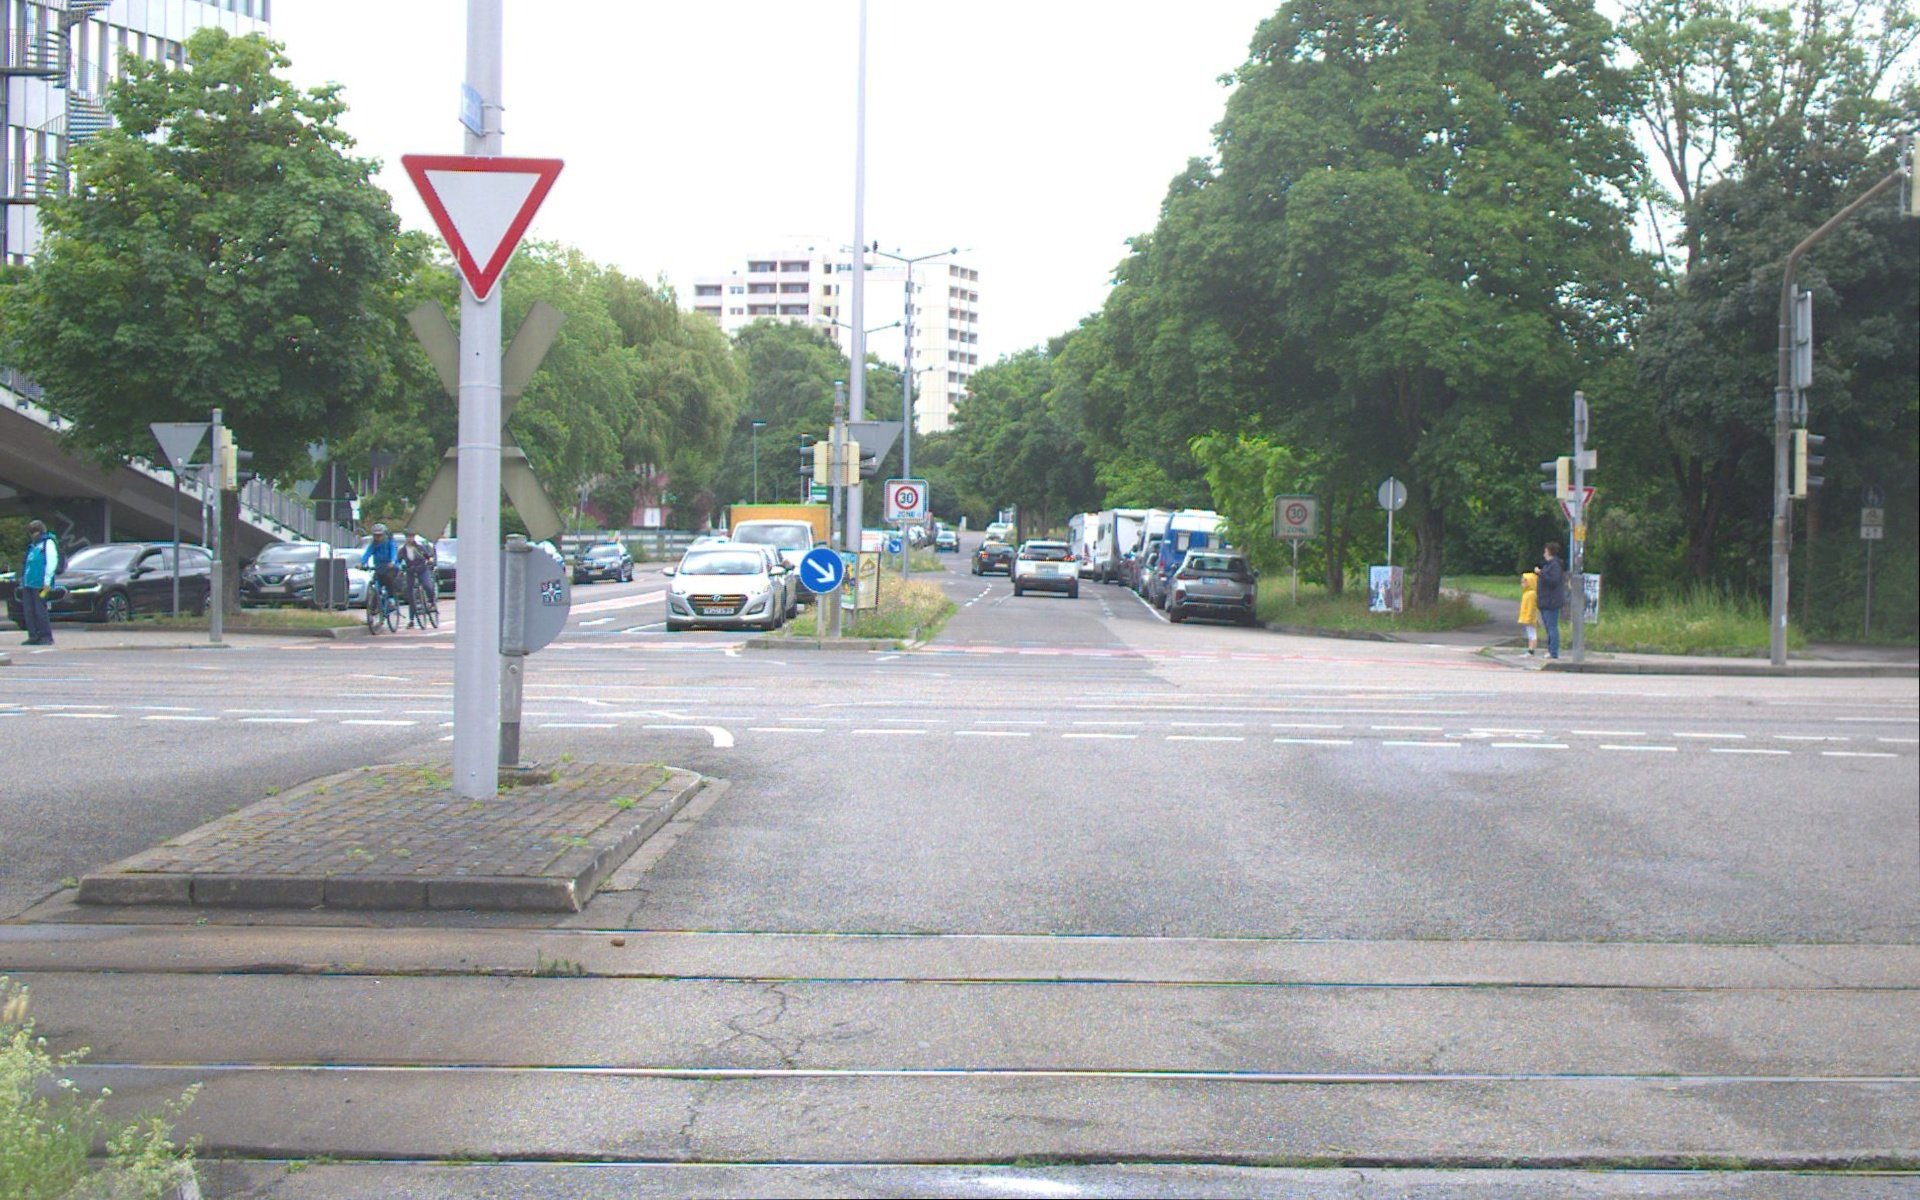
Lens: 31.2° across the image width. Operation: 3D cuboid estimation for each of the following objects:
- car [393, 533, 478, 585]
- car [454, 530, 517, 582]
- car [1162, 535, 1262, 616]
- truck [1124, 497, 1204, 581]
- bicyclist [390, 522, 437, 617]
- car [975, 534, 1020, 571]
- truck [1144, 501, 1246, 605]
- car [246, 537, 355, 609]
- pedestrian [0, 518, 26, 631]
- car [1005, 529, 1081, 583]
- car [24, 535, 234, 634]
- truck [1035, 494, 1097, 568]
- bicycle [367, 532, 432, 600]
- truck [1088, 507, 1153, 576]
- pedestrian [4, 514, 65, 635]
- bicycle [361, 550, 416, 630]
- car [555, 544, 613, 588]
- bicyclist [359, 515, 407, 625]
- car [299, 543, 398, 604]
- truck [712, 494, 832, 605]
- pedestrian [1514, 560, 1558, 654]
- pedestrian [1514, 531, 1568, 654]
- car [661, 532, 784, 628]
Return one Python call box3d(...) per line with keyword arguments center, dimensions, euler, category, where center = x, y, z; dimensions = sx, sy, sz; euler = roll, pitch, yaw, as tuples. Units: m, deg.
box3d(center=(-14.506, -1.146, 95.269), dimensions=(1.763, 1.390, 4.000), euler=(1, 1, -1), category="car")
box3d(center=(-14.600, -1.361, 105.845), dimensions=(1.444, 1.546, 3.664), euler=(1, 1, -1), category="car")
box3d(center=(5.393, -0.544, 73.926), dimensions=(1.784, 1.656, 4.000), euler=(1, 1, -1), category="car")
box3d(center=(7.095, -2.120, 120.059), dimensions=(1.993, 2.828, 5.732), euler=(1, 1, -4), category="truck")
box3d(center=(-9.293, -0.519, 58.497), dimensions=(0.679, 1.589, 0.695), euler=(1, 0, -1), category="bicyclist")
box3d(center=(1.542, -1.980, 142.465), dimensions=(1.554, 1.500, 4.001), euler=(1, 1, -3), category="car")
box3d(center=(6.147, -1.238, 90.717), dimensions=(2.174, 2.647, 6.247), euler=(0, 1, -1), category="truck")
box3d(center=(-14.858, -0.622, 77.641), dimensions=(1.671, 1.546, 3.892), euler=(1, 1, 0), category="car")
box3d(center=(-12.974, -0.344, 45.913), dimensions=(0.917, 1.505, 0.404), euler=(1, 1, -11), category="pedestrian")
box3d(center=(2.389, -1.295, 99.620), dimensions=(2.020, 1.500, 4.000), euler=(1, 1, -1), category="car")
box3d(center=(-13.788, -0.286, 57.254), dimensions=(1.673, 1.546, 3.997), euler=(1, 1, 15), category="car")
box3d(center=(4.379, -2.854, 142.919), dimensions=(1.993, 2.998, 5.773), euler=(1, 1, -4), category="truck")
box3d(center=(-9.390, -0.585, 57.639), dimensions=(0.726, 1.097, 2.264), euler=(1, 1, -1), category="bicycle")
box3d(center=(6.156, -2.246, 132.132), dimensions=(1.993, 2.564, 5.379), euler=(1, 1, -2), category="truck")
box3d(center=(-12.336, -0.340, 45.825), dimensions=(0.687, 1.599, 0.488), euler=(1, 1, -5), category="pedestrian")
box3d(center=(-9.305, -0.171, 56.023), dimensions=(0.543, 1.263, 2.111), euler=(1, 1, -1), category="bicycle")
box3d(center=(-13.730, -1.266, 125.654), dimensions=(1.671, 1.546, 4.000), euler=(1, 1, 0), category="car")
box3d(center=(-9.358, -0.494, 55.753), dimensions=(0.644, 1.762, 0.647), euler=(1, 1, -1), category="bicyclist")
box3d(center=(-14.755, -0.657, 83.137), dimensions=(1.671, 1.382, 3.895), euler=(1, 1, 0), category="car")
box3d(center=(-3.858, -1.070, 71.574), dimensions=(2.155, 2.191, 5.841), euler=(1, 1, 0), category="truck")
box3d(center=(8.356, 0.095, 49.870), dimensions=(0.527, 1.337, 0.525), euler=(1, 1, -1), category="pedestrian")
box3d(center=(8.323, -0.113, 49.276), dimensions=(0.657, 1.744, 0.459), euler=(1, 1, -1), category="pedestrian")
box3d(center=(-3.962, -0.370, 57.926), dimensions=(1.789, 1.514, 4.326), euler=(1, 1, -1), category="car")
